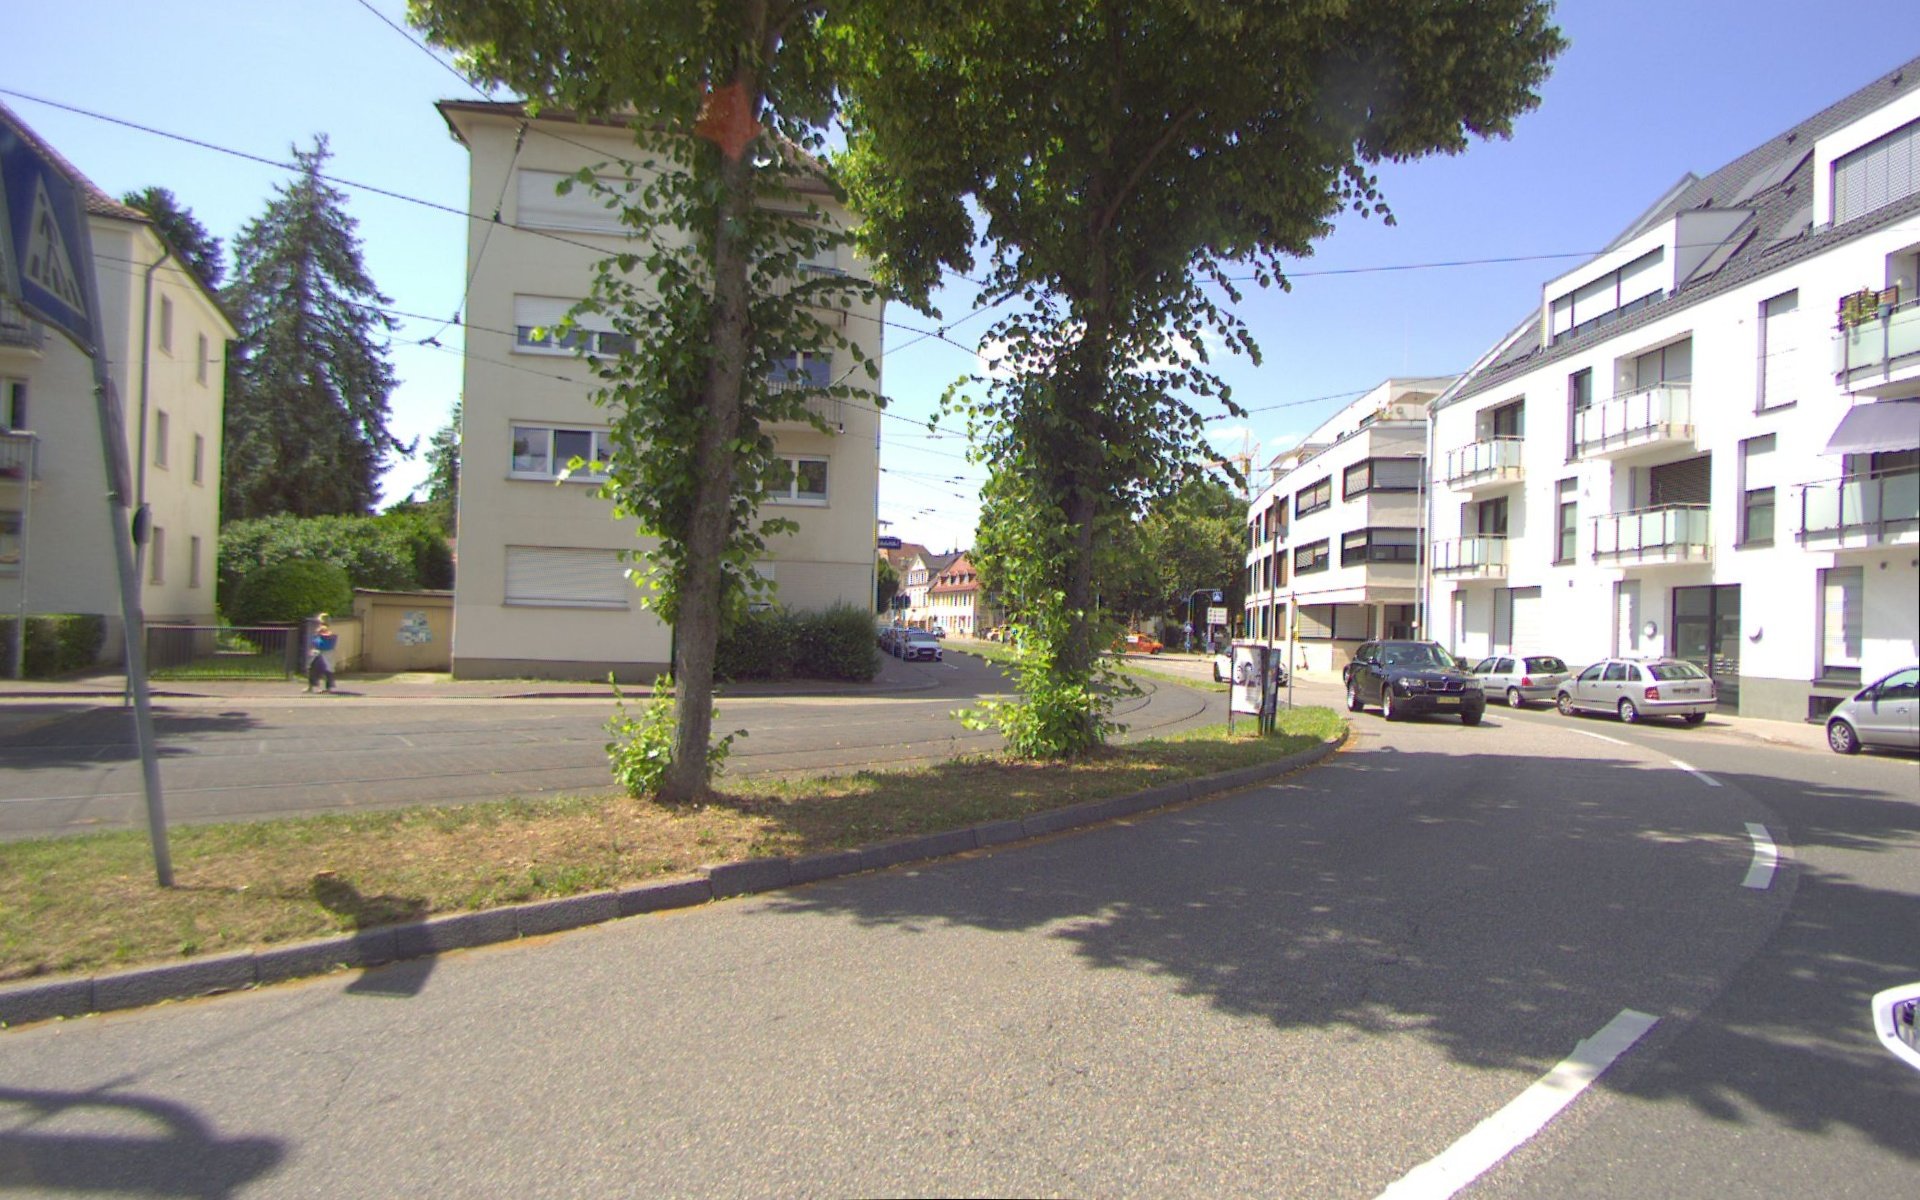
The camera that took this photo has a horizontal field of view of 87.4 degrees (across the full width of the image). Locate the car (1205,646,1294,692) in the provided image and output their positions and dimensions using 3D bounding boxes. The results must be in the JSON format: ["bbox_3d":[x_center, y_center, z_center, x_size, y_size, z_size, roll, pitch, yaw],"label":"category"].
[{"bbox_3d":[10.231,2.424,35.830,1.753,1.260,3.998,4,0,-4],"label":"car"}]

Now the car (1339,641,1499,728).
[{"bbox_3d":[9.466,1.687,21.119,1.856,1.572,4.400,1,-2,8],"label":"car"}]

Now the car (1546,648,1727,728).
[{"bbox_3d":[15.597,1.980,23.423,1.628,1.485,3.909,-2,0,2],"label":"car"}]

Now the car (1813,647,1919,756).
[{"bbox_3d":[15.650,1.662,15.764,1.552,1.607,3.619,4,0,5],"label":"car"}]

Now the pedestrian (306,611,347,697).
[{"bbox_3d":[-12.823,1.093,20.345,0.600,1.674,0.570,4,0,-32],"label":"pedestrian"}]

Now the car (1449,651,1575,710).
[{"bbox_3d":[15.437,2.215,28.289,1.395,1.376,3.502,-2,0,-4],"label":"car"}]

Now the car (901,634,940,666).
[{"bbox_3d":[-2.032,2.495,50.491,1.557,1.305,3.848,4,0,-7],"label":"car"}]

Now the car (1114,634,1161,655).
[{"bbox_3d":[15.819,3.944,89.719,3.985,1.547,1.652,4,0,5],"label":"car"}]
